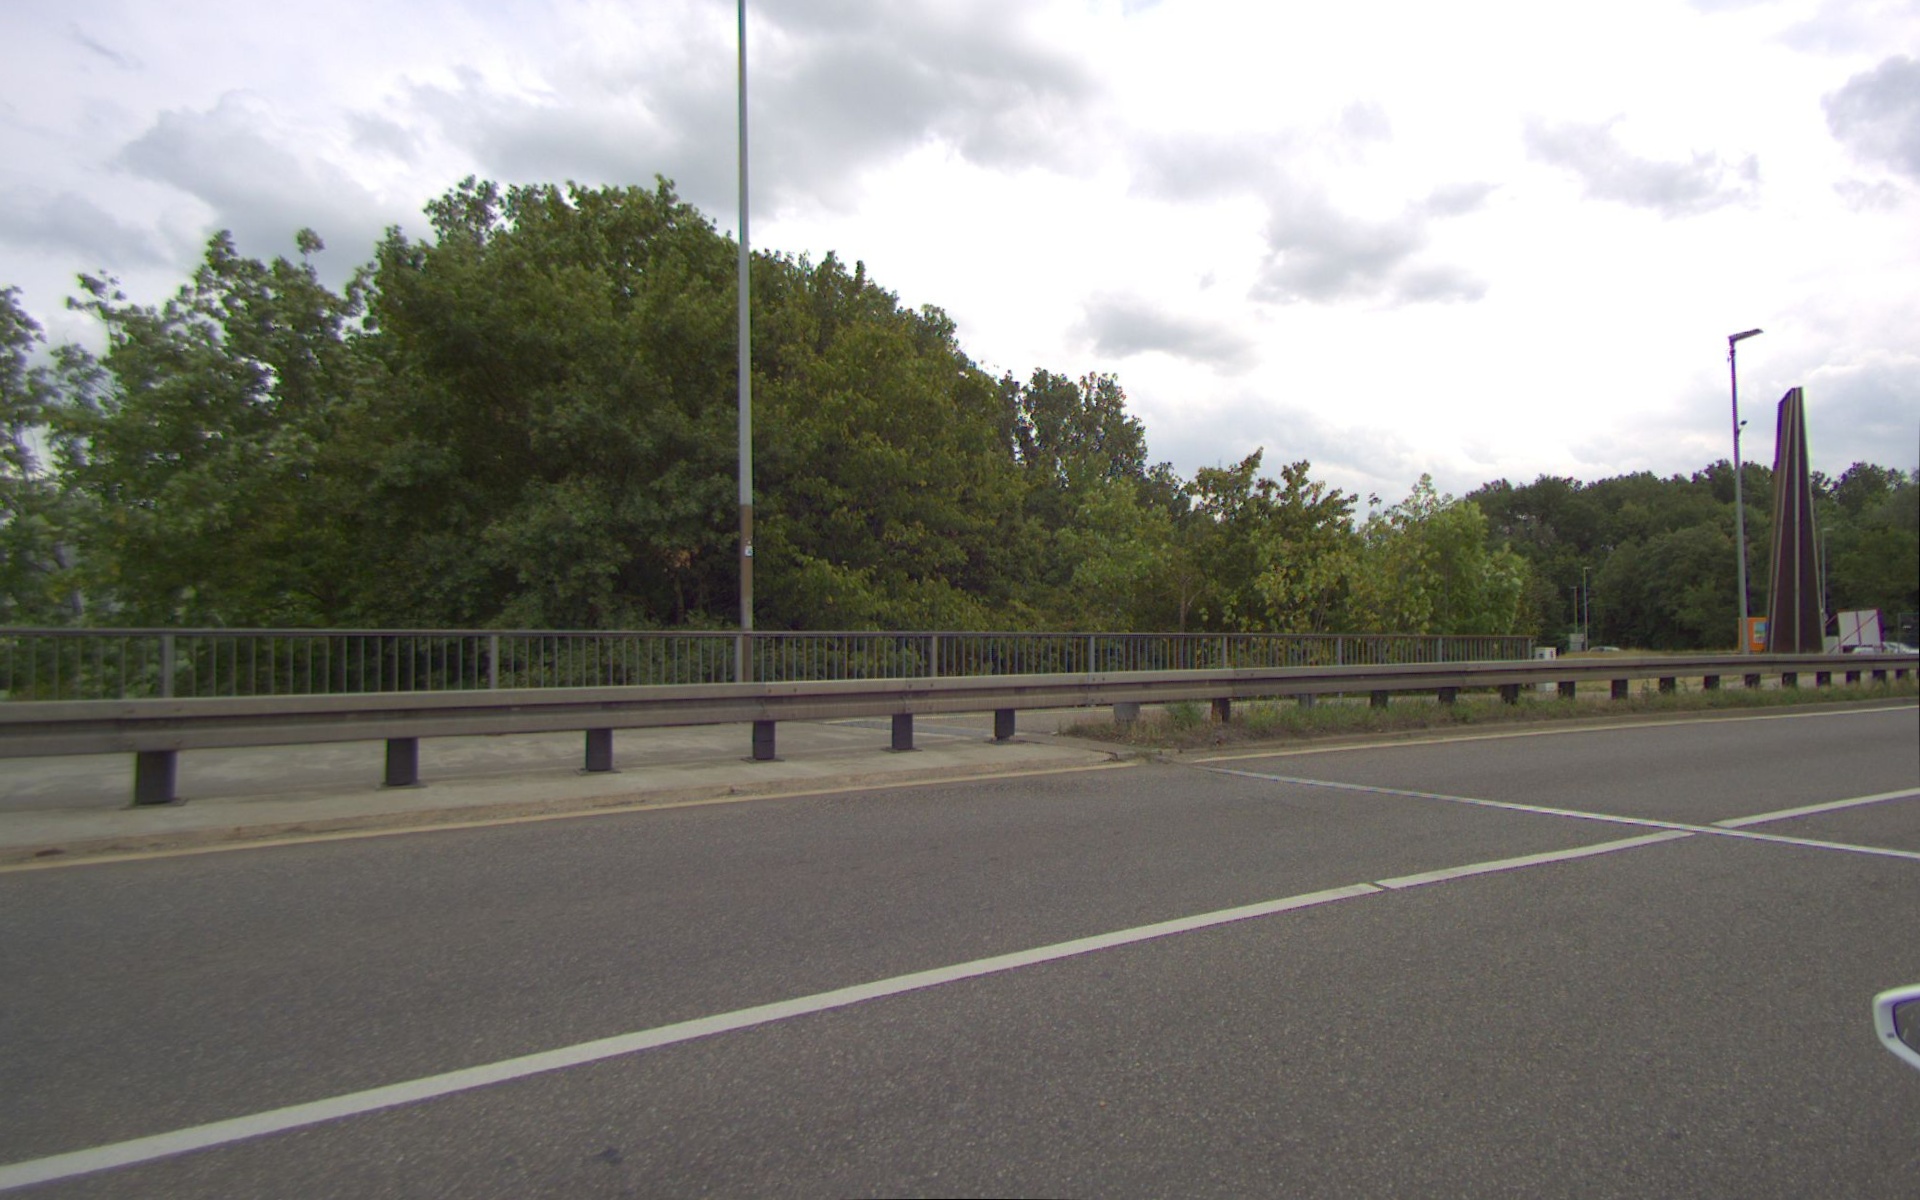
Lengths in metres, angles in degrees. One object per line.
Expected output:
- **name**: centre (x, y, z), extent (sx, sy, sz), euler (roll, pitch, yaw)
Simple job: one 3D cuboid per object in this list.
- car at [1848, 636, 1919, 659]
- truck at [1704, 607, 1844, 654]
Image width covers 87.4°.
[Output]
- **car**: centre (61.044, 3.100, 65.765), extent (1.961, 1.327, 4.337), euler (1, 0, 0)
- **truck**: centre (61.217, 2.197, 75.929), extent (2.914, 3.177, 9.274), euler (1, 0, -1)
